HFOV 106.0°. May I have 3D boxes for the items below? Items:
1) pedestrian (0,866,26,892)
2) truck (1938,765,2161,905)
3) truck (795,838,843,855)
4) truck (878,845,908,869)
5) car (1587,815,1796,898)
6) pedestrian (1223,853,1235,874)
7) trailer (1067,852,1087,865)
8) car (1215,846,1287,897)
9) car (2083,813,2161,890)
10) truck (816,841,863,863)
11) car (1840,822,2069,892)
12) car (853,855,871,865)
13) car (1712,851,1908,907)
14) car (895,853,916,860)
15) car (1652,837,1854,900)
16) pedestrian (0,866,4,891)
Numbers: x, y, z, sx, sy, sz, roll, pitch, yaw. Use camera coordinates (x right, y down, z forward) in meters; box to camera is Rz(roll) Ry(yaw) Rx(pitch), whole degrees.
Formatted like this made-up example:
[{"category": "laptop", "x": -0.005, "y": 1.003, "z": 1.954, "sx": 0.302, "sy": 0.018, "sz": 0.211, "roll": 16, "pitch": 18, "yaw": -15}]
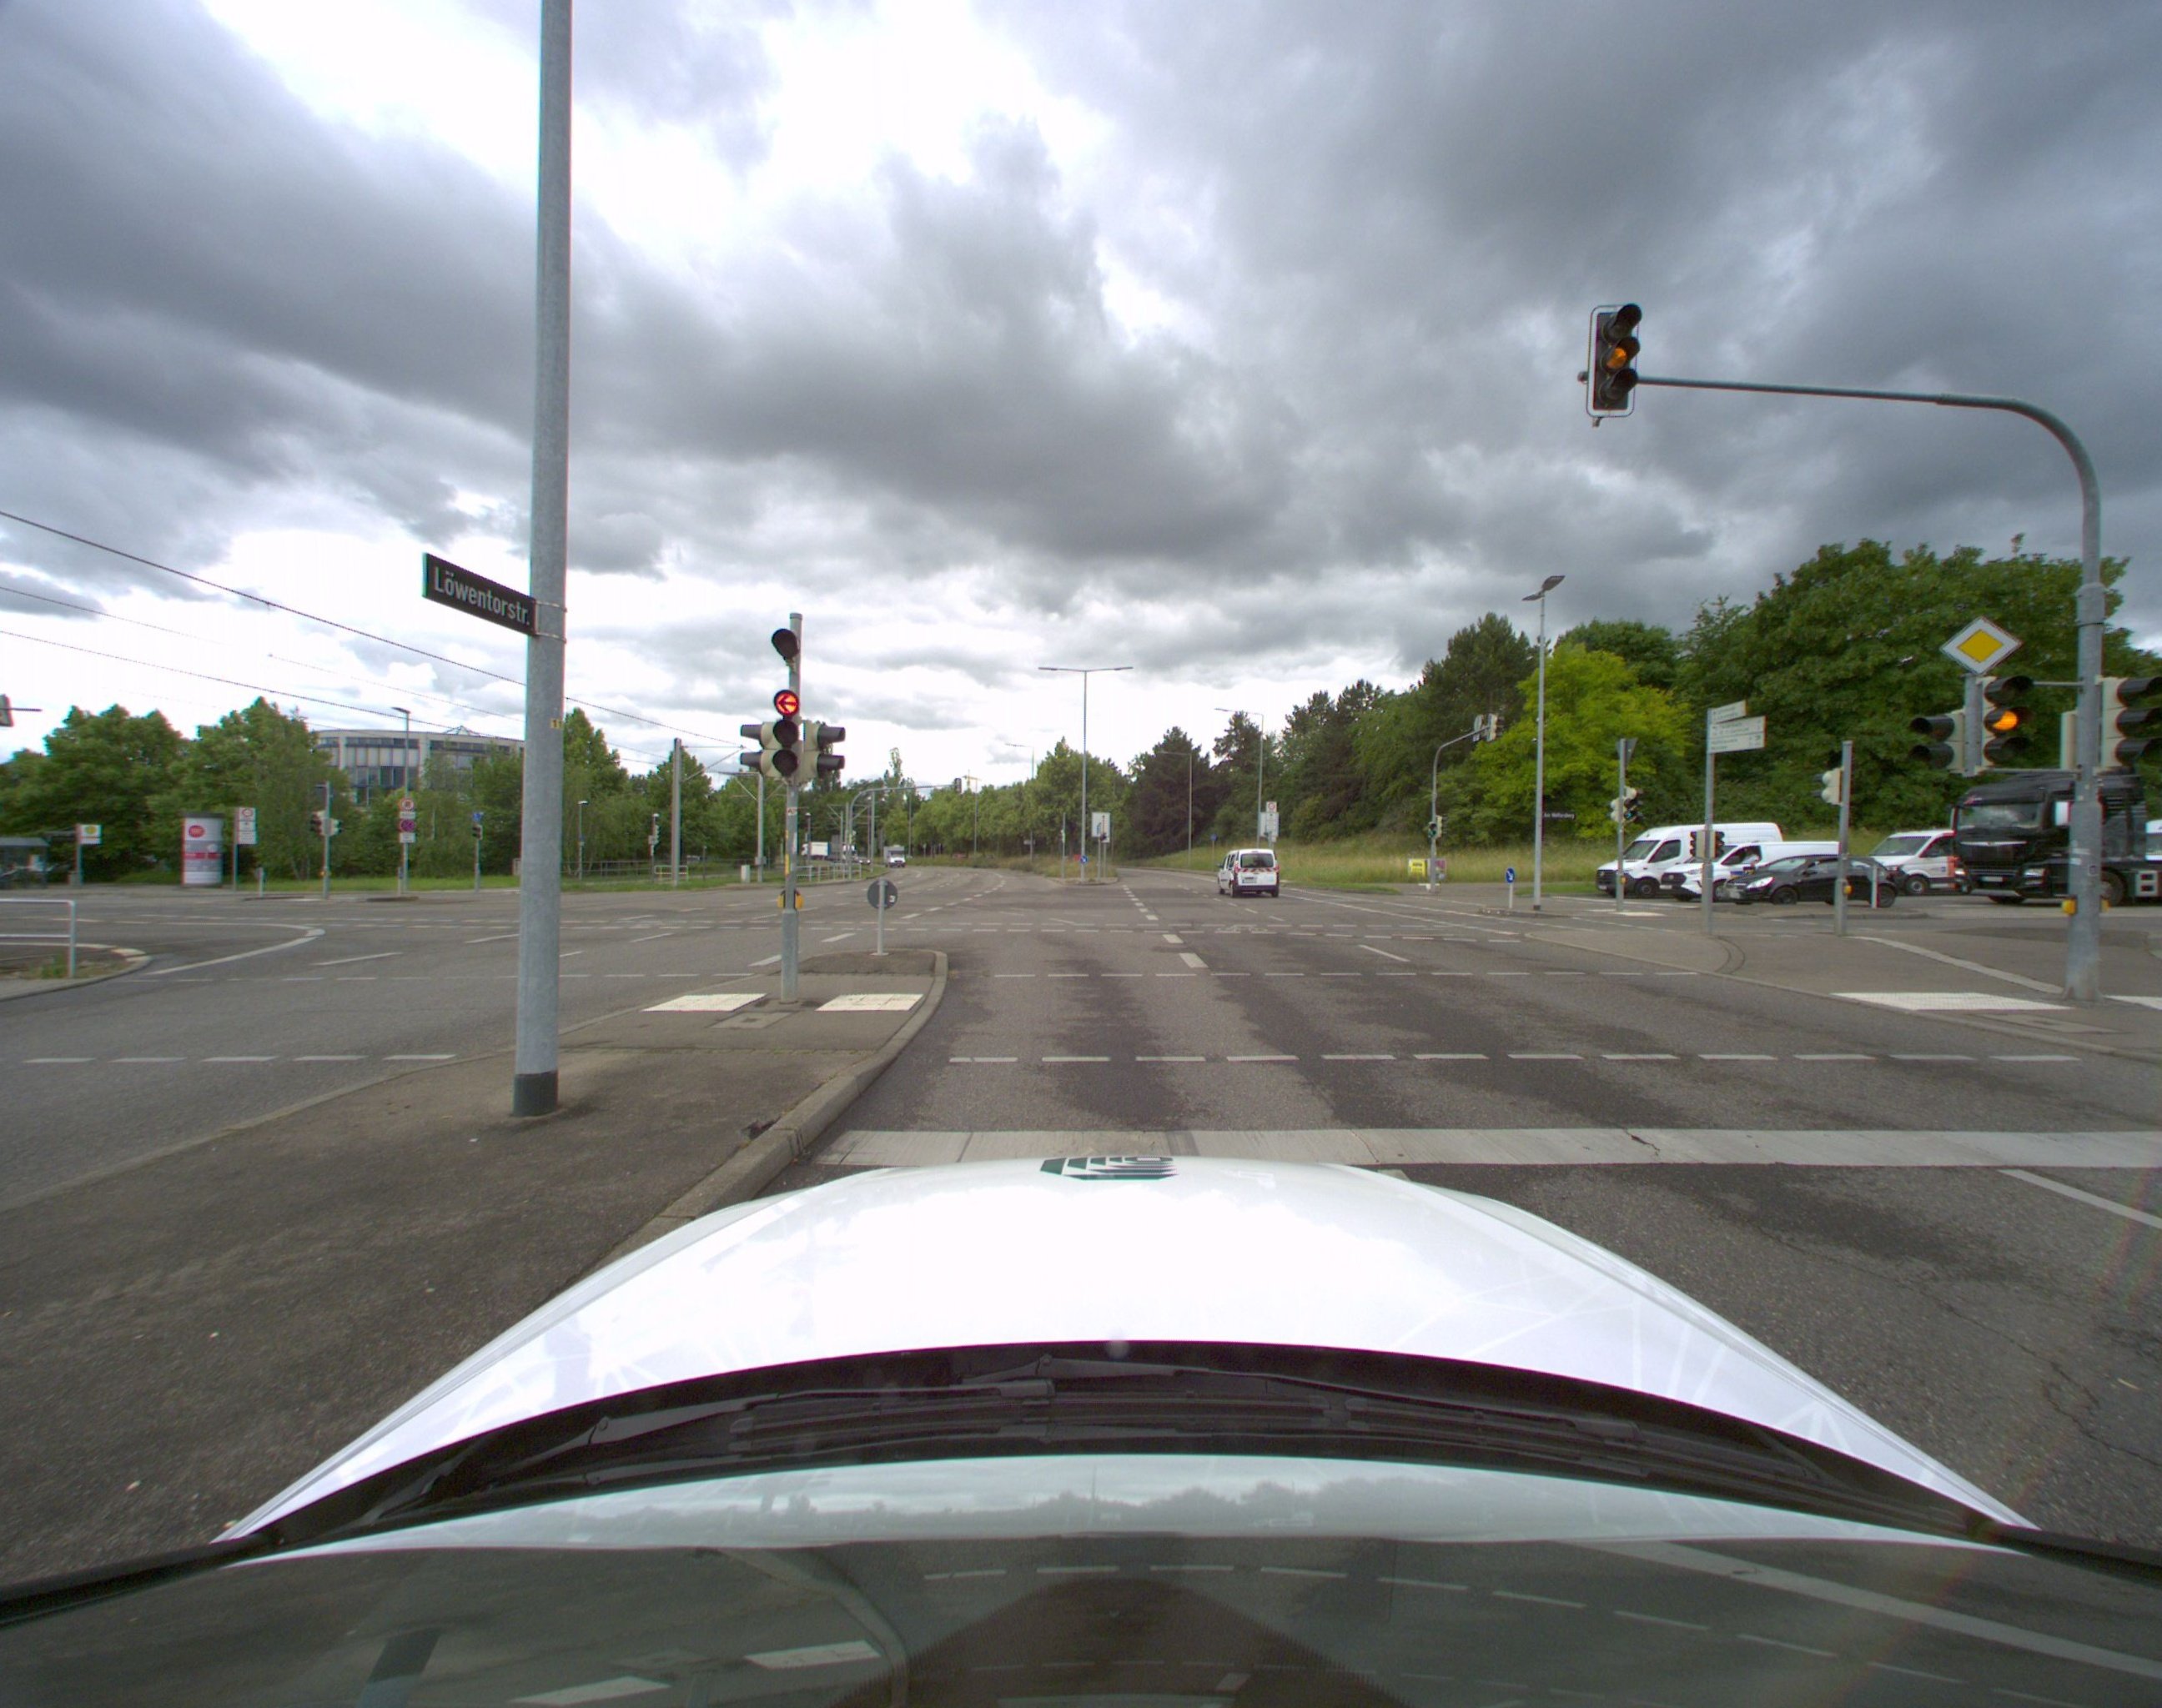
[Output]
[{"category": "pedestrian", "x": -56.389, "y": 1.308, "z": 42.956, "sx": 0.774, "sy": 1.304, "sz": 0.666, "roll": 0, "pitch": 0, "yaw": 15}, {"category": "truck", "x": 27.938, "y": -0.520, "z": 22.274, "sx": 6.027, "sy": 3.538, "sz": 2.729, "roll": -1, "pitch": 0, "yaw": 2}, {"category": "truck", "x": -54.763, "y": -1.571, "z": 170.134, "sx": 11.260, "sy": 3.328, "sz": 2.766, "roll": 0, "pitch": 0, "yaw": 31}, {"category": "truck", "x": -25.706, "y": 0.447, "z": 111.273, "sx": 2.130, "sy": 3.135, "sz": 5.838, "roll": 0, "pitch": -1, "yaw": -33}, {"category": "car", "x": 21.901, "y": 0.090, "z": 29.413, "sx": 5.870, "sy": 2.781, "sz": 2.136, "roll": -1, "pitch": 0, "yaw": 2}, {"category": "pedestrian", "x": 11.200, "y": 0.724, "z": 61.705, "sx": 0.811, "sy": 1.627, "sz": 0.791, "roll": 0, "pitch": 0, "yaw": 1}, {"category": "trailer", "x": -0.530, "y": 0.550, "z": 101.778, "sx": 1.767, "sy": 1.616, "sz": 3.030, "roll": -1, "pitch": 0, "yaw": -14}, {"category": "car", "x": 6.467, "y": 0.638, "z": 31.512, "sx": 1.986, "sy": 1.802, "sz": 4.842, "roll": -1, "pitch": -1, "yaw": 2}, {"category": "car", "x": 39.727, "y": -0.134, "z": 28.494, "sx": 6.473, "sy": 2.609, "sz": 2.197, "roll": -1, "pitch": 0, "yaw": 2}, {"category": "truck", "x": -44.652, "y": -0.277, "z": 150.152, "sx": 3.075, "sy": 3.760, "sz": 12.658, "roll": 0, "pitch": -1, "yaw": -42}, {"category": "car", "x": 30.686, "y": 0.105, "z": 28.768, "sx": 5.677, "sy": 2.289, "sz": 2.136, "roll": -1, "pitch": 0, "yaw": 2}, {"category": "car", "x": -35.276, "y": 0.887, "z": 131.241, "sx": 1.791, "sy": 1.446, "sz": 4.486, "roll": -2, "pitch": 2, "yaw": -29}, {"category": "car", "x": 20.284, "y": 0.664, "z": 22.776, "sx": 3.906, "sy": 1.436, "sz": 1.732, "roll": -1, "pitch": 0, "yaw": 1}, {"category": "car", "x": -32.970, "y": 0.450, "z": 152.880, "sx": 4.403, "sy": 1.421, "sz": 1.794, "roll": 0, "pitch": 0, "yaw": 44}, {"category": "car", "x": 21.595, "y": 0.453, "z": 26.333, "sx": 4.836, "sy": 1.896, "sz": 2.034, "roll": -1, "pitch": 0, "yaw": 1}, {"category": "pedestrian", "x": -57.809, "y": 1.295, "z": 43.153, "sx": 0.774, "sy": 1.303, "sz": 0.666, "roll": 0, "pitch": 0, "yaw": 15}]
